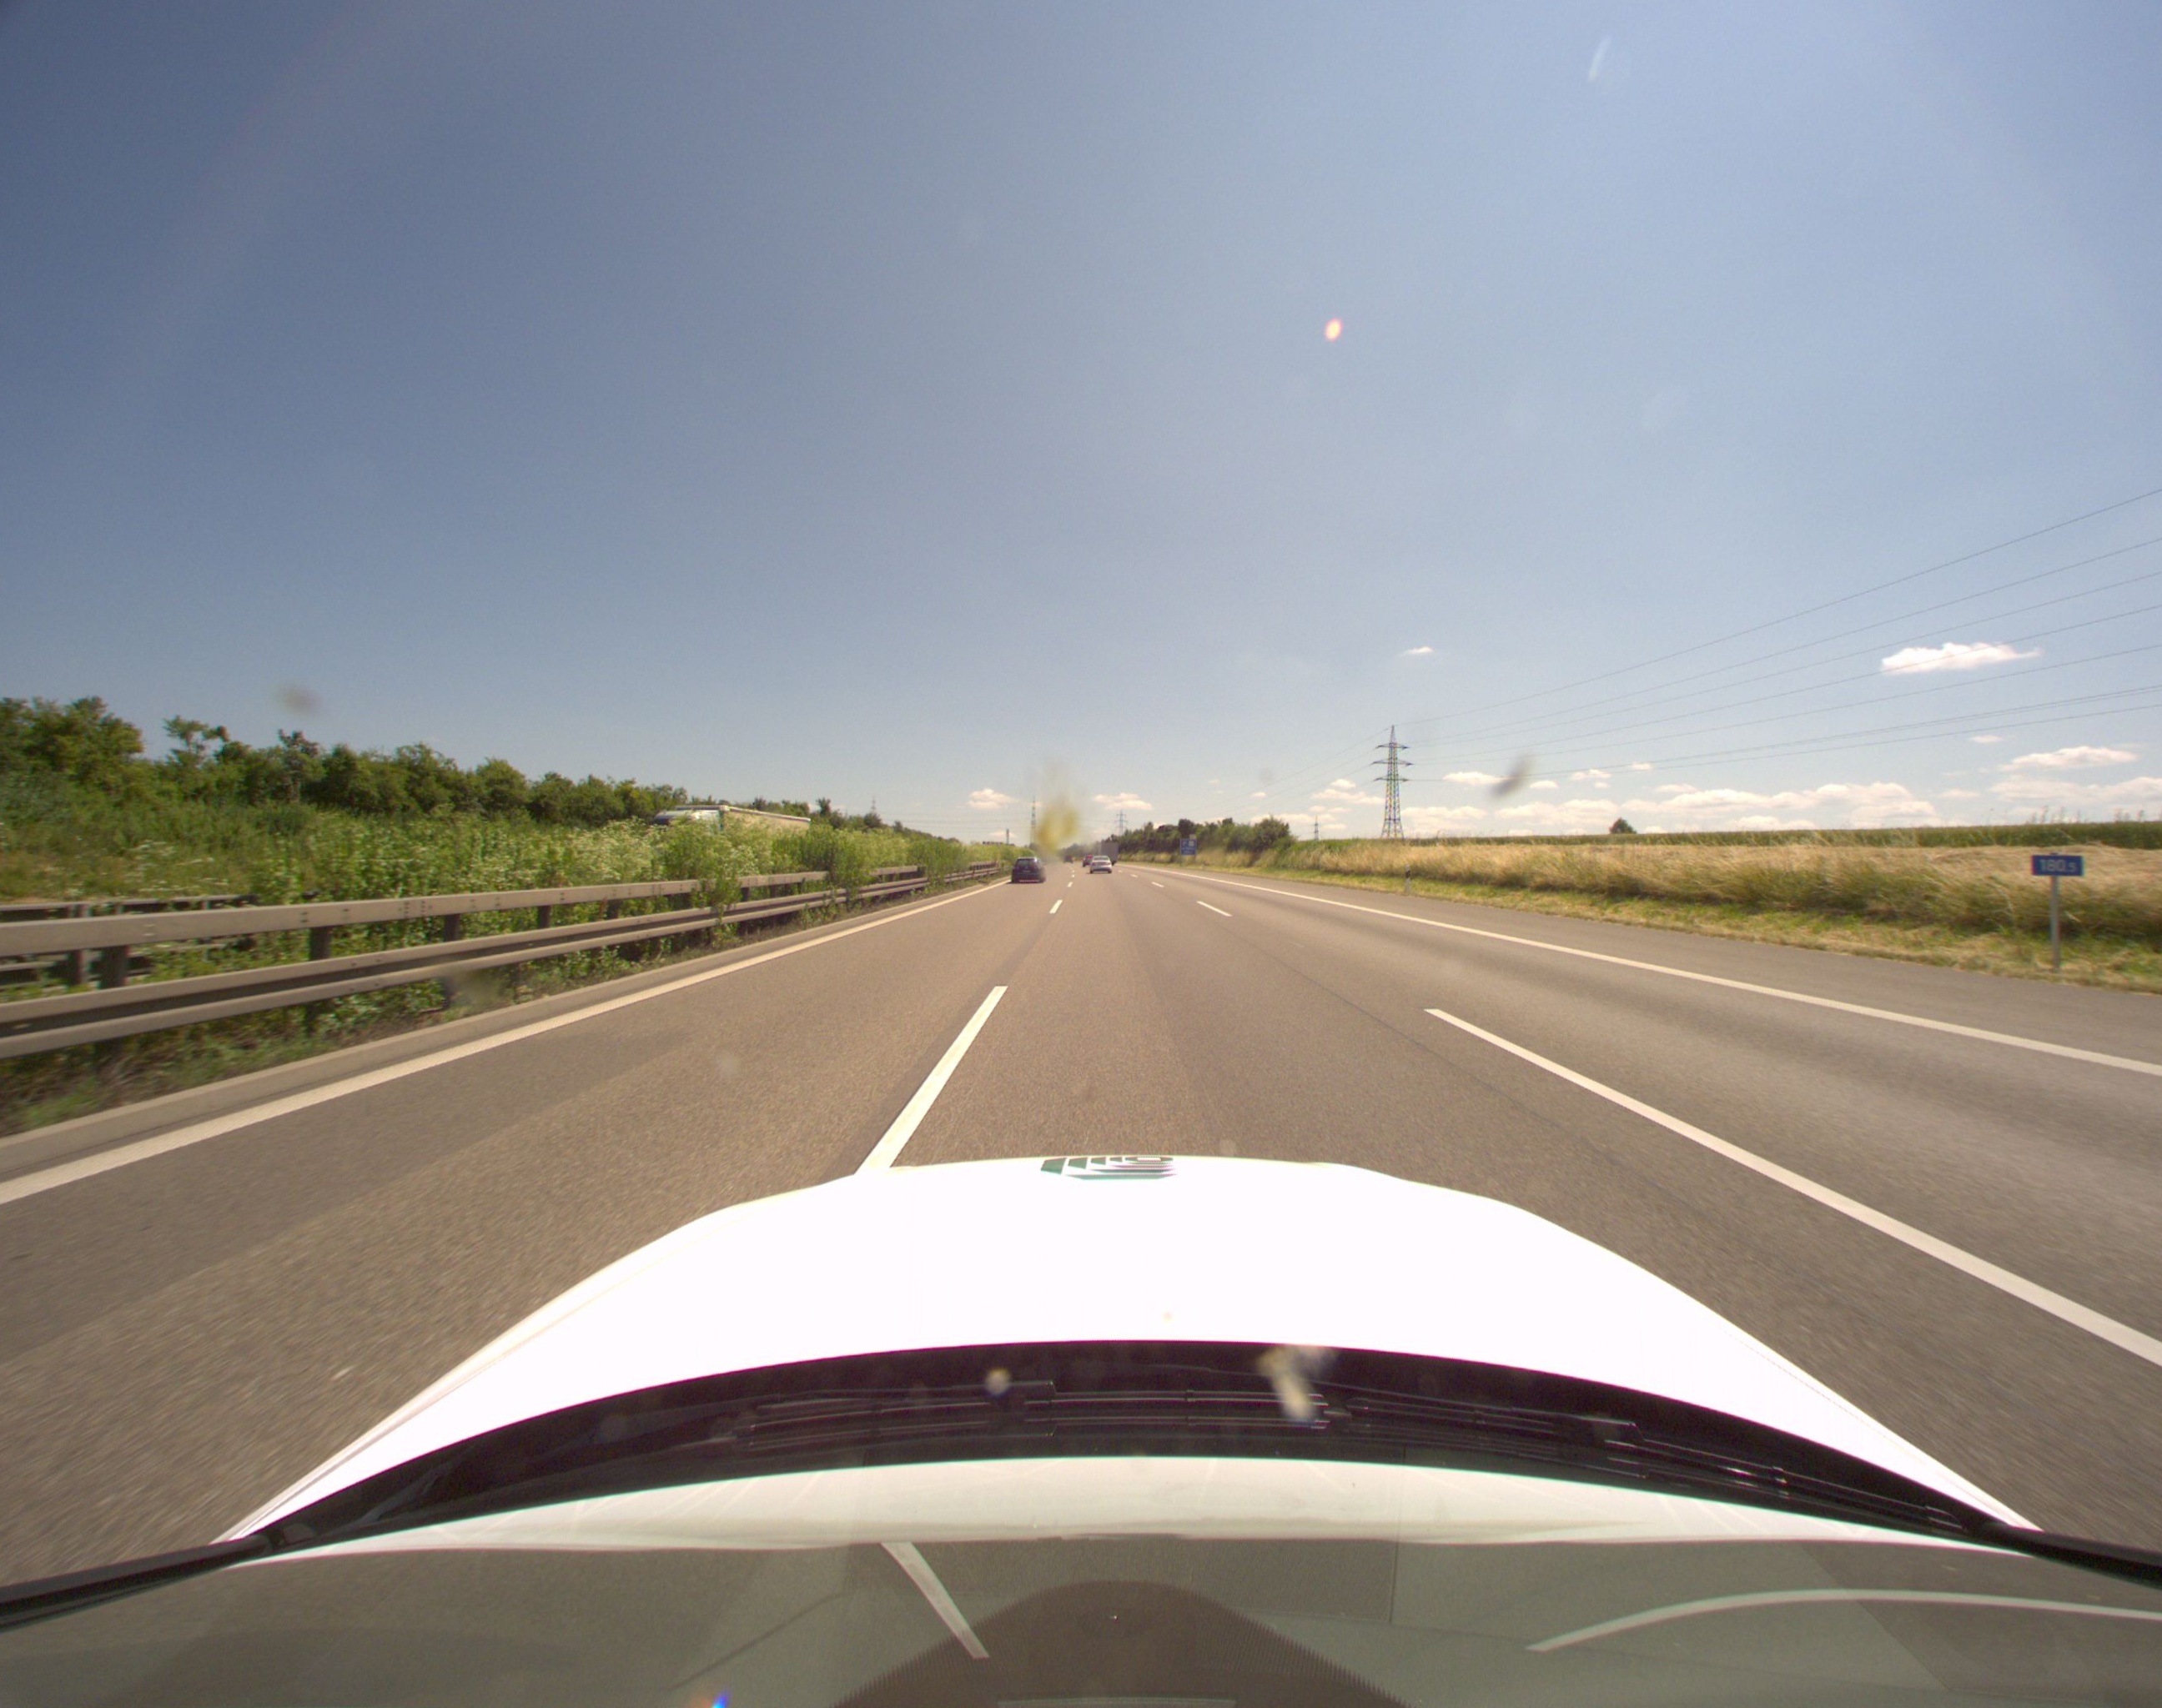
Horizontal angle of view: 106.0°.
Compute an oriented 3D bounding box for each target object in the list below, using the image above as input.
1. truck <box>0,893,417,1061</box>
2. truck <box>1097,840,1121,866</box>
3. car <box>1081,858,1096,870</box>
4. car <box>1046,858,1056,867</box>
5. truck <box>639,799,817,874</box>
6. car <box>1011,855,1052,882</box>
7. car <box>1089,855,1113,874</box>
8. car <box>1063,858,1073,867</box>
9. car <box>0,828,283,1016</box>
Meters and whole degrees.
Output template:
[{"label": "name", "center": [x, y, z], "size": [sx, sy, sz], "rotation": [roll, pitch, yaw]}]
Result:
[{"label": "truck", "center": [-19.241, 2.335, 17.846], "size": [2.667, 2.478, 7.844], "rotation": [-2, 0, 2]}, {"label": "truck", "center": [4.399, -0.123, 128.069], "size": [3.212, 3.924, 9.054], "rotation": [0, -1, -2]}, {"label": "car", "center": [1.013, 1.334, 107.853], "size": [1.832, 1.541, 3.915], "rotation": [-1, 0, 1]}, {"label": "car", "center": [-6.103, 1.707, 165.507], "size": [1.988, 1.860, 3.997], "rotation": [-1, 0, -2]}, {"label": "truck", "center": [-19.425, -0.844, 47.007], "size": [2.665, 3.518, 17.039], "rotation": [-1, 0, 1]}, {"label": "car", "center": [-2.740, 0.767, 45.885], "size": [1.748, 1.429, 4.004], "rotation": [-1, 0, 4]}, {"label": "car", "center": [1.636, 0.869, 68.018], "size": [1.814, 1.541, 3.913], "rotation": [-1, 0, -1]}, {"label": "car", "center": [-2.703, 1.726, 171.792], "size": [1.898, 1.926, 3.994], "rotation": [-1, 0, -4]}, {"label": "car", "center": [-11.612, 0.713, 8.920], "size": [1.809, 1.865, 3.867], "rotation": [-2, 0, 1]}]
